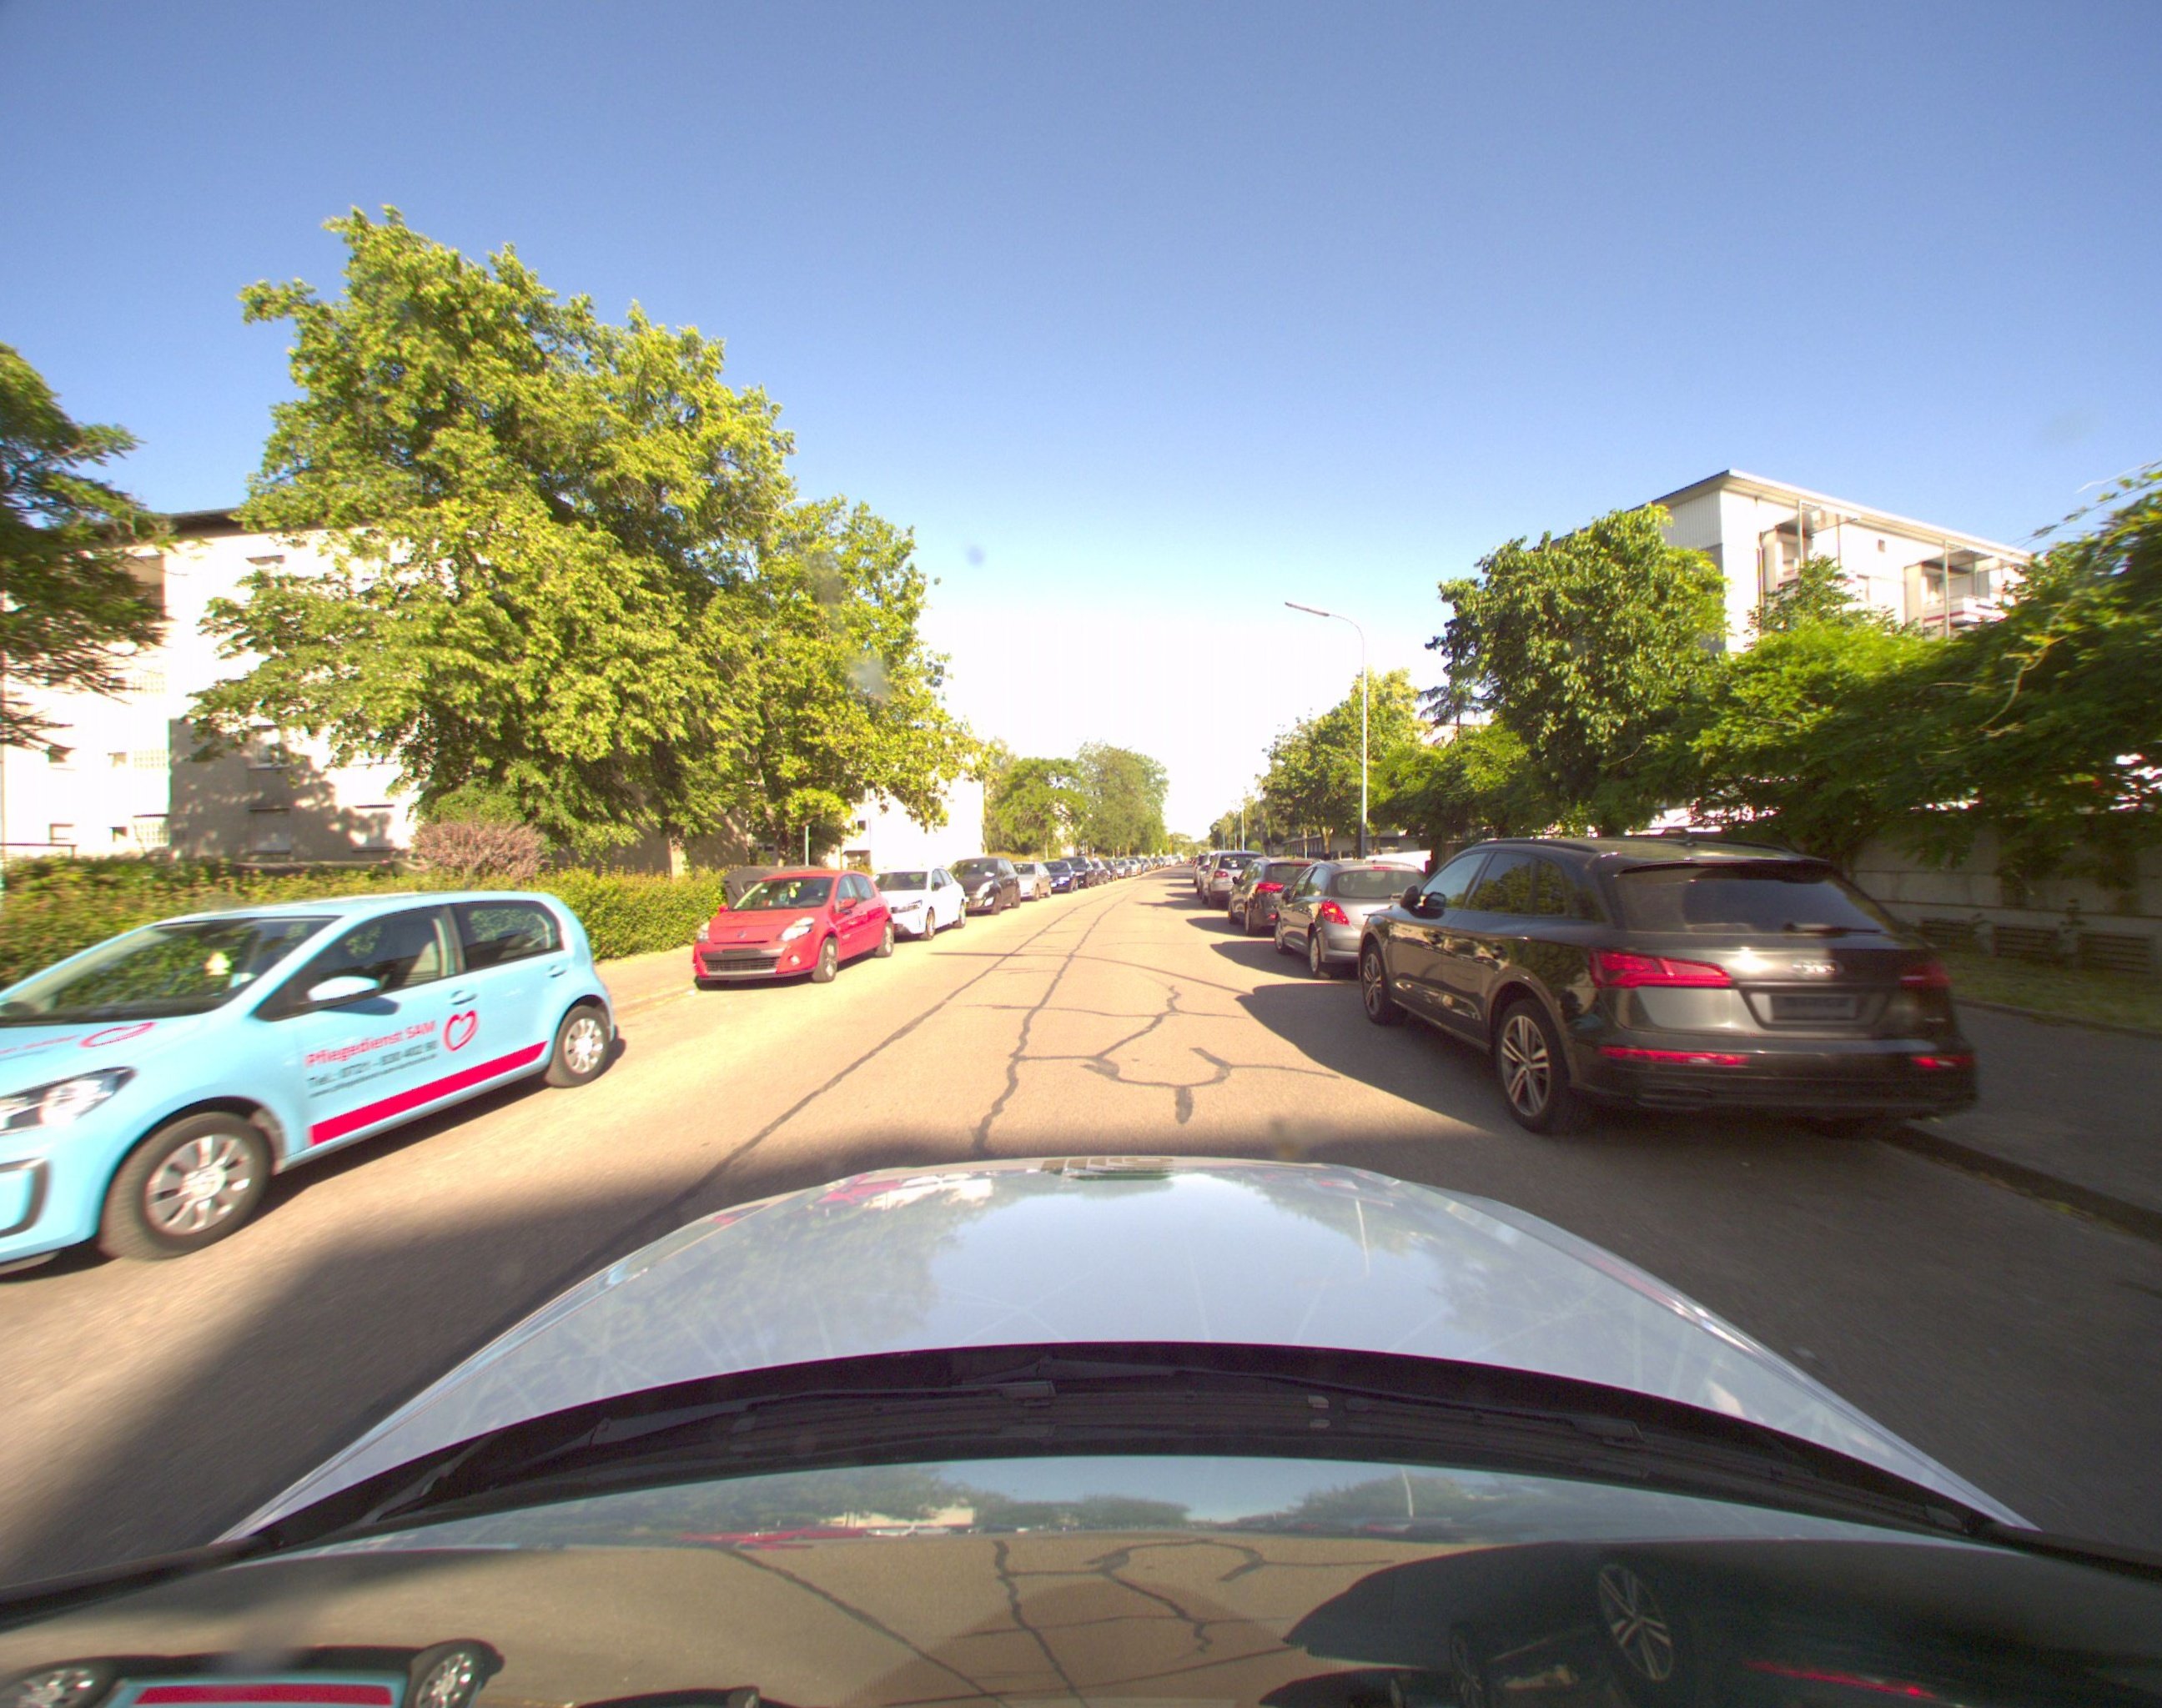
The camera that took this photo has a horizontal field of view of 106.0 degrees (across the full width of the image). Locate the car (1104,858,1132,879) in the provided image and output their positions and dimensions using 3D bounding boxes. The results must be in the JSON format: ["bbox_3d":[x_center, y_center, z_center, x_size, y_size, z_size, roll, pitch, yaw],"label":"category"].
[{"bbox_3d":[2.799,1.061,61.344,1.500,1.451,3.702,-3,0,11],"label":"car"}]

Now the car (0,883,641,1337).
[{"bbox_3d":[-4.507,1.009,4.750,1.663,1.474,3.681,-3,0,3],"label":"car"}]

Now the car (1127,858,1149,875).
[{"bbox_3d":[5.294,1.110,75.217,1.500,1.434,3.478,-3,0,11],"label":"car"}]

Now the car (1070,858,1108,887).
[{"bbox_3d":[0.475,1.018,46.589,1.651,1.439,3.767,-3,0,7],"label":"car"}]

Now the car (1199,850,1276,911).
[{"bbox_3d":[4.494,0.718,23.906,1.722,1.619,4.238,-1,0,4],"label":"car"}]

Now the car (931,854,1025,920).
[{"bbox_3d":[-2.901,0.892,23.862,1.662,1.666,4.414,-3,0,6],"label":"car"}]

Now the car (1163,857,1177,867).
[{"bbox_3d":[13.666,1.199,125.135,1.813,1.466,4.246,-1,1,11],"label":"car"}]

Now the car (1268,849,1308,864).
[{"bbox_3d":[23.465,0.305,92.372,4.194,1.530,1.834,-1,-3,9],"label":"car"}]

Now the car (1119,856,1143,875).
[{"bbox_3d":[4.171,0.929,67.560,1.500,1.364,3.478,-3,0,11],"label":"car"}]

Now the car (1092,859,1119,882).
[{"bbox_3d":[1.674,1.084,54.458,1.381,1.413,3.132,-3,0,8],"label":"car"}]

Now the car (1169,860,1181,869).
[{"bbox_3d":[17.027,1.813,147.688,1.813,1.466,4.246,-1,1,11],"label":"car"}]

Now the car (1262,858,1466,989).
[{"bbox_3d":[3.697,0.811,11.342,1.677,1.487,3.827,1,0,3],"label":"car"}]

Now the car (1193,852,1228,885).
[{"bbox_3d":[6.712,0.723,42.298,1.688,1.641,4.243,-1,0,8],"label":"car"}]

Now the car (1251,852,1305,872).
[{"bbox_3d":[16.110,0.664,66.871,4.194,1.593,1.835,-1,0,9],"label":"car"}]

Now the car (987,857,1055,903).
[{"bbox_3d":[-2.141,0.917,30.217,1.651,1.486,4.061,-3,0,7],"label":"car"}]

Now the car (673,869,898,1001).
[{"bbox_3d":[-4.022,1.022,11.770,1.663,1.474,3.681,-3,0,3],"label":"car"}]

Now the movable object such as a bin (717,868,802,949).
[{"bbox_3d":[-6.515,1.082,16.605,1.107,1.498,1.409,-2,0,1],"label":"movable object such as a bin"}]

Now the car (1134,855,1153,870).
[{"bbox_3d":[6.406,0.868,83.494,1.500,1.381,3.478,-3,0,11],"label":"car"}]

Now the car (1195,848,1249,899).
[{"bbox_3d":[4.994,0.663,29.314,1.645,1.698,4.241,-1,0,6],"label":"car"}]

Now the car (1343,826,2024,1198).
[{"bbox_3d":[3.422,0.706,5.905,1.802,1.664,4.465,0,0,3],"label":"car"}]

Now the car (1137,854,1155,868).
[{"bbox_3d":[7.157,0.750,89.475,1.500,1.329,3.478,-3,0,11],"label":"car"}]

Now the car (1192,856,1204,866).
[{"bbox_3d":[18.563,1.094,129.209,1.814,1.325,4.244,-1,1,8],"label":"car"}]

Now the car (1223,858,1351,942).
[{"bbox_3d":[3.998,0.822,16.498,1.675,1.456,4.294,0,0,2],"label":"car"}]

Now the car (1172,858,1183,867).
[{"bbox_3d":[18.524,1.581,156.212,1.813,1.466,4.246,-1,1,11],"label":"car"}]

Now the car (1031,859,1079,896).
[{"bbox_3d":[-1.076,0.980,35.897,1.653,1.426,4.053,-3,0,3],"label":"car"}]

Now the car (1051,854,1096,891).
[{"bbox_3d":[-0.339,0.908,41.483,1.651,1.688,4.057,-3,0,7],"label":"car"}]

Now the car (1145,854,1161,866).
[{"bbox_3d":[8.674,0.680,98.209,1.500,1.329,3.478,-3,0,11],"label":"car"}]

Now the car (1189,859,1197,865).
[{"bbox_3d":[27.281,1.994,197.967,1.933,1.289,4.244,-1,1,8],"label":"car"}]

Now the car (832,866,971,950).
[{"bbox_3d":[-3.613,1.036,17.102,1.662,1.421,3.907,-3,0,5],"label":"car"}]

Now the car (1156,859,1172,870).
[{"bbox_3d":[11.773,1.448,115.125,1.813,1.466,4.246,-1,1,11],"label":"car"}]

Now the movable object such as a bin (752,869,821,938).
[{"bbox_3d":[-6.575,1.074,18.252,0.984,1.418,1.315,-2,0,1],"label":"movable object such as a bin"}]

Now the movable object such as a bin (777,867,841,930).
[{"bbox_3d":[-6.524,1.048,19.590,0.984,1.418,1.316,-2,0,3],"label":"movable object such as a bin"}]
